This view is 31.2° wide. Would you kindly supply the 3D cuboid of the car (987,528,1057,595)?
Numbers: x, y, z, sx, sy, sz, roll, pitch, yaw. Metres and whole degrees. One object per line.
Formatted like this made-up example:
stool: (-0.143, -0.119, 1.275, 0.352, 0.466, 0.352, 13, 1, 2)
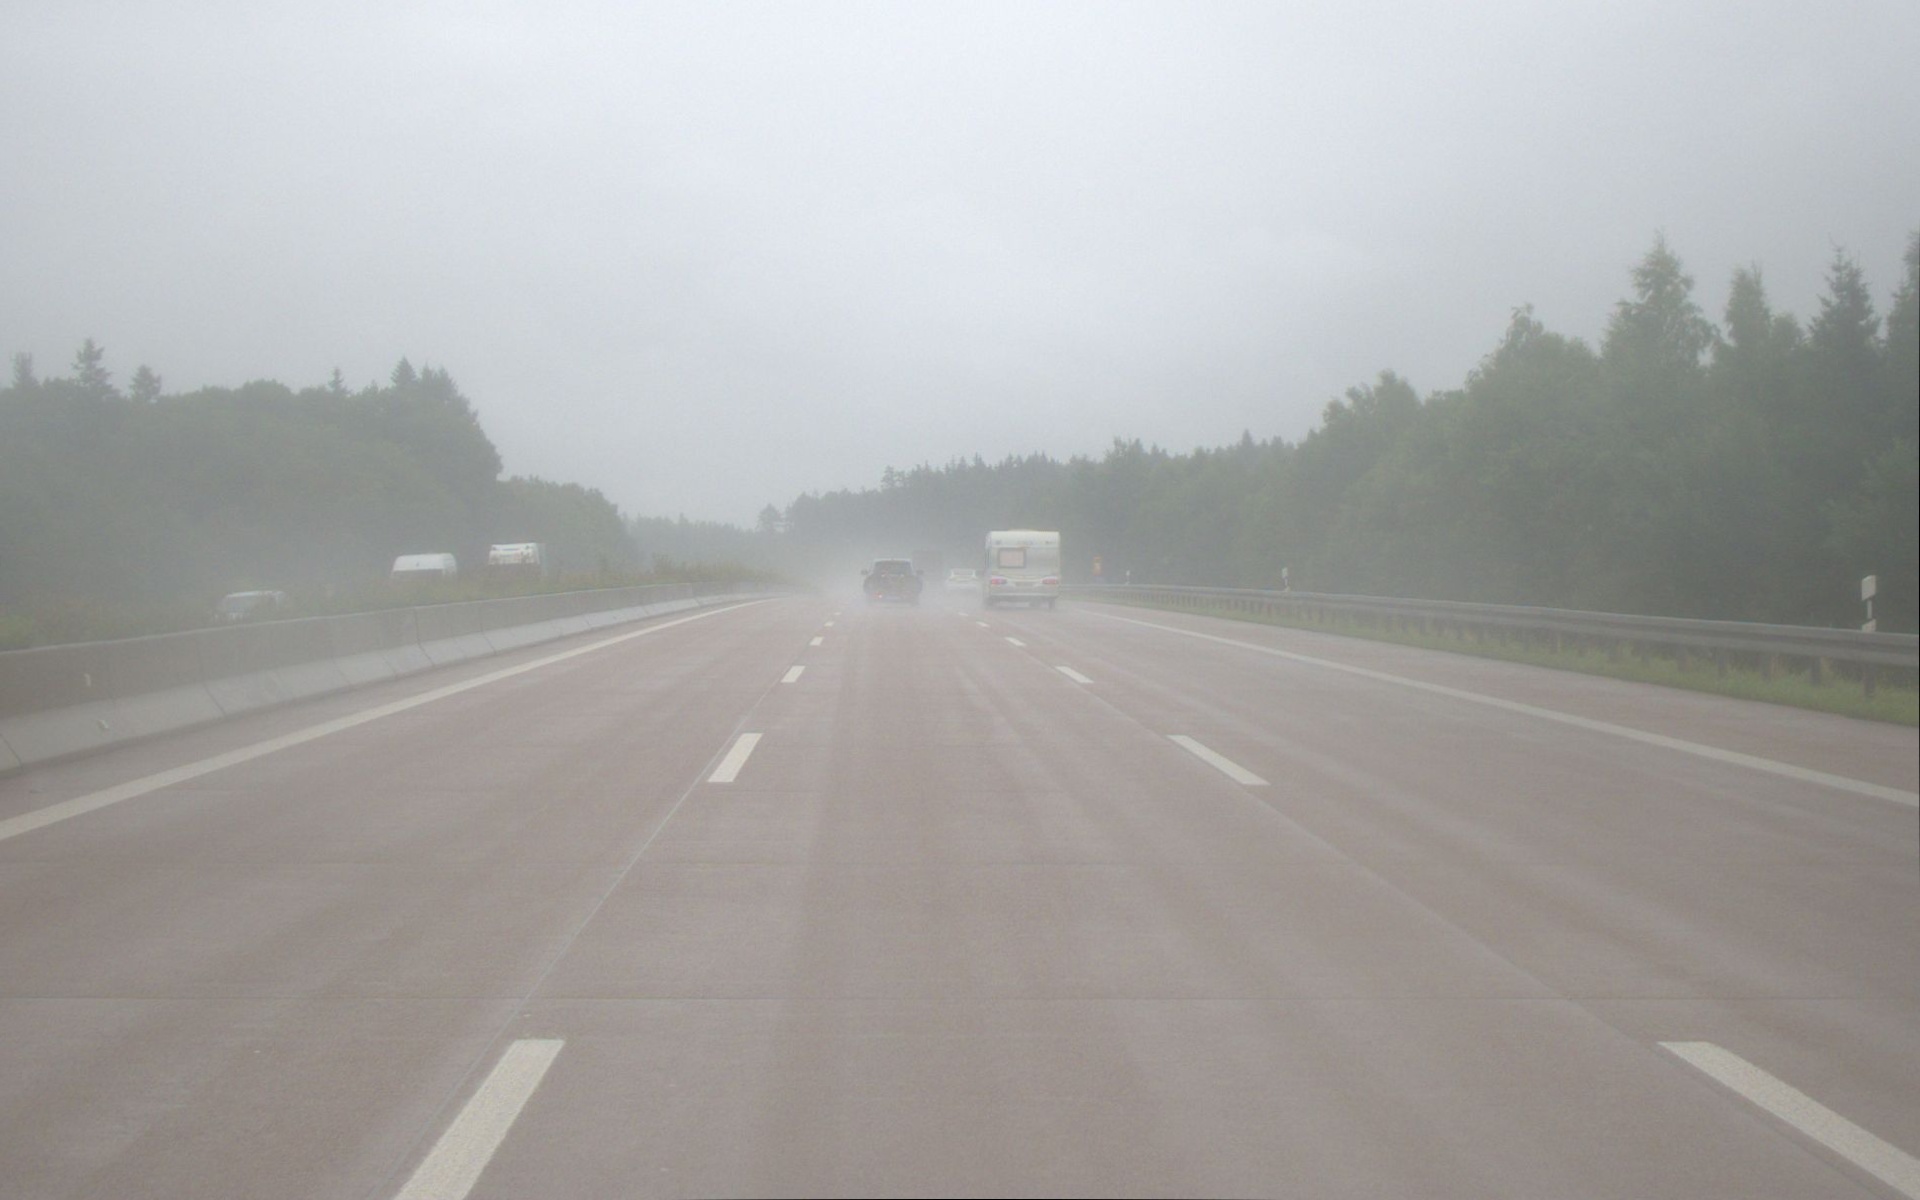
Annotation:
car: (1.981, -1.257, 110.581, 2.058, 1.993, 4.099, 3, 1, 0)
